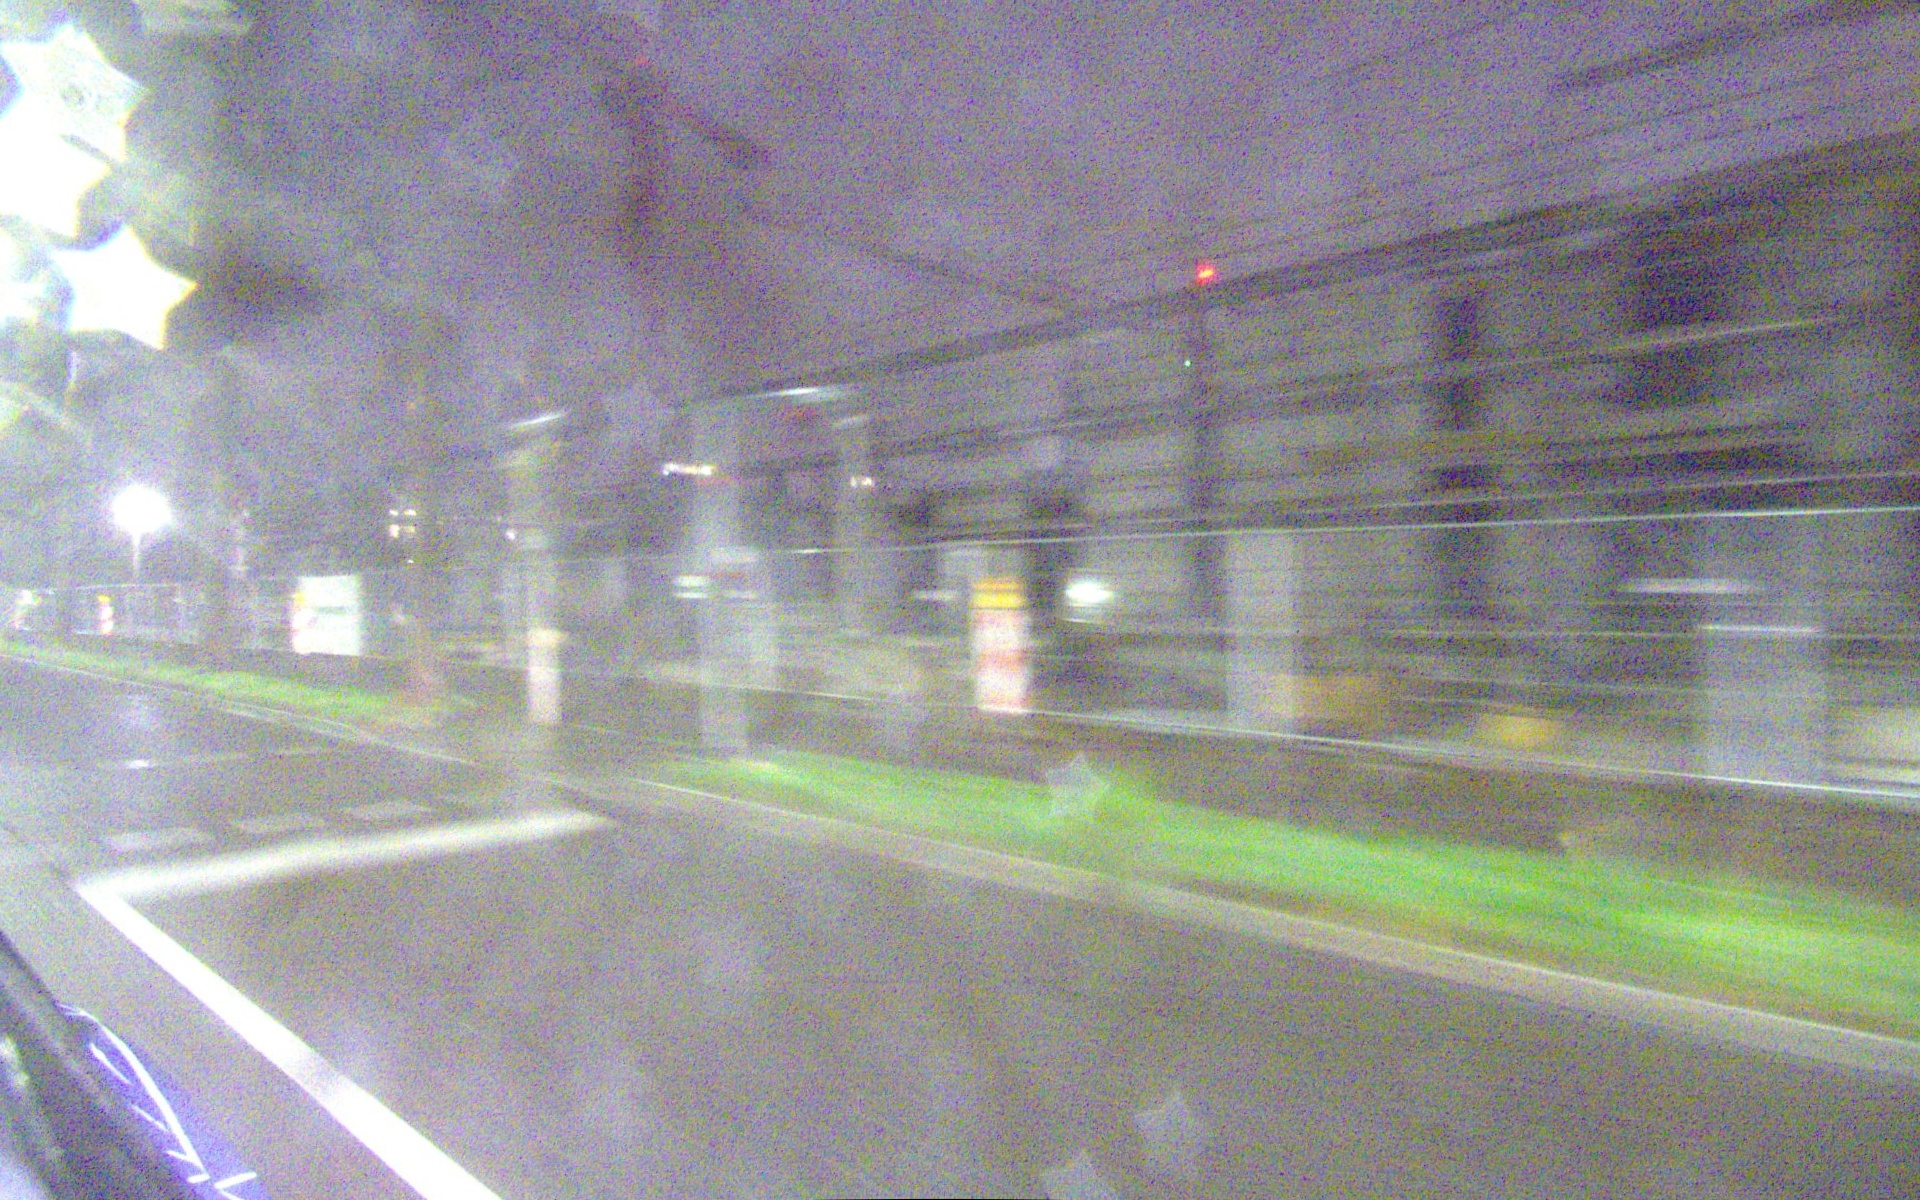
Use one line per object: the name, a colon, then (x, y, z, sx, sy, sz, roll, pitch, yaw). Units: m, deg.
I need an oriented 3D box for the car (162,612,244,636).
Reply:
car: (-48.656, 1.551, 65.062, 1.495, 1.381, 4.030, 5, 3, 44)
